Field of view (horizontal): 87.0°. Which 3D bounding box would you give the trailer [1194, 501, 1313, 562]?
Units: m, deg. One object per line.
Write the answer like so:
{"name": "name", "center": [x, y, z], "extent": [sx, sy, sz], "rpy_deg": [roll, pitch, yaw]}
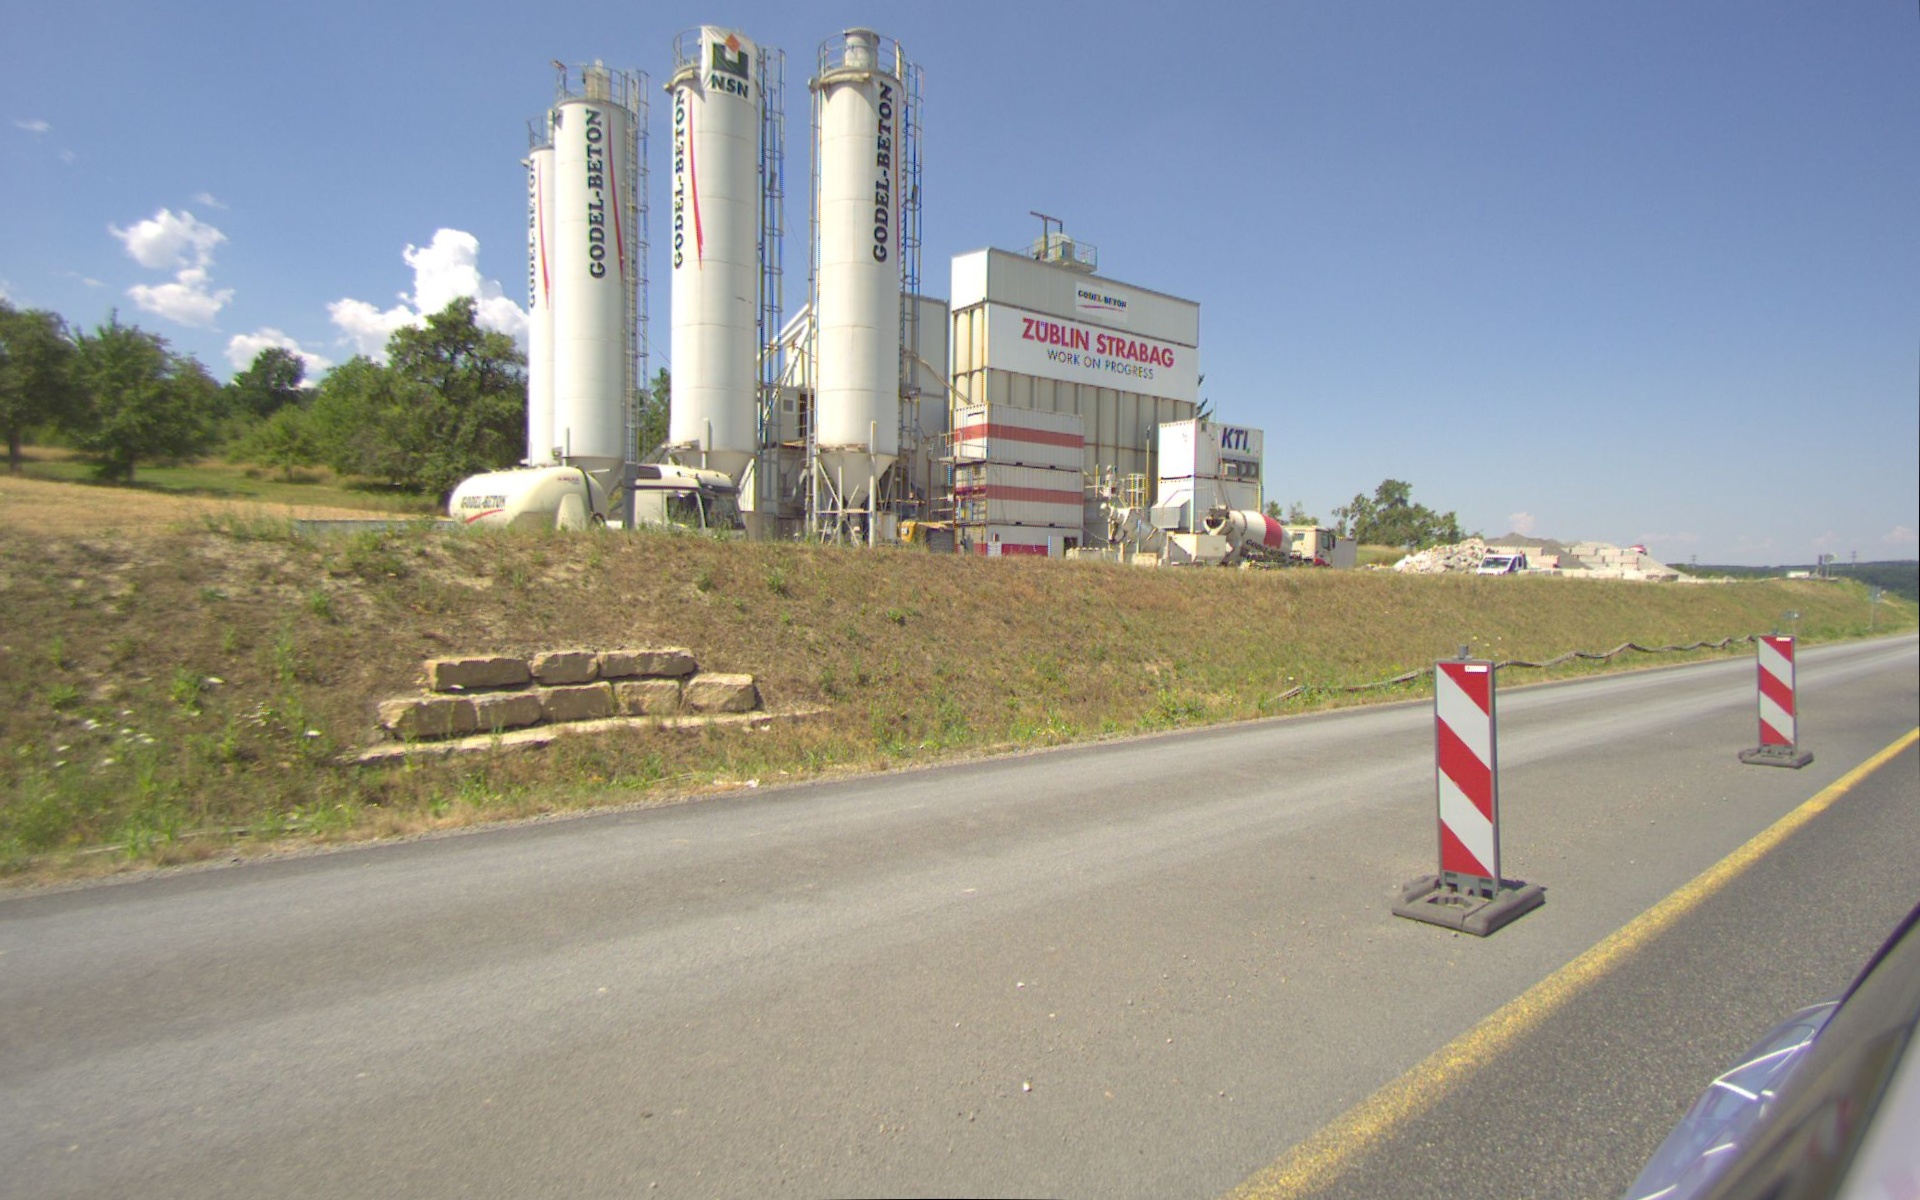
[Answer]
{"name": "trailer", "center": [14.546, -3.273, 49.904], "extent": [6.809, 2.678, 1.998], "rpy_deg": [-1, 0, -38]}

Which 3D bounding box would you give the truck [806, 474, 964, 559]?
{"name": "truck", "center": [-3.419, -3.351, 42.753], "extent": [2.412, 2.904, 9.102], "rpy_deg": [0, 0, -34]}

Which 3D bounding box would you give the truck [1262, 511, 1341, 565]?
{"name": "truck", "center": [17.637, -3.150, 52.264], "extent": [3.967, 2.577, 2.022], "rpy_deg": [-1, 0, -38]}

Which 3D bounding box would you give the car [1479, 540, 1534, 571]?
{"name": "car", "center": [34.459, -2.768, 63.795], "extent": [3.539, 1.785, 1.989], "rpy_deg": [-1, 0, -41]}

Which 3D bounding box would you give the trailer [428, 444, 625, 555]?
{"name": "trailer", "center": [-13.015, -2.741, 29.837], "extent": [2.423, 2.639, 8.902], "rpy_deg": [0, 1, -44]}

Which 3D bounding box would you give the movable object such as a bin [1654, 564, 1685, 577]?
{"name": "movable object such as a bin", "center": [37.791, -1.557, 53.898], "extent": [2.210, 0.690, 0.837], "rpy_deg": [-1, 0, -41]}

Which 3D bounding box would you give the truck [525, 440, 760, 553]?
{"name": "truck", "center": [-8.308, -2.617, 26.764], "extent": [5.228, 2.576, 2.894], "rpy_deg": [0, 0, 13]}
